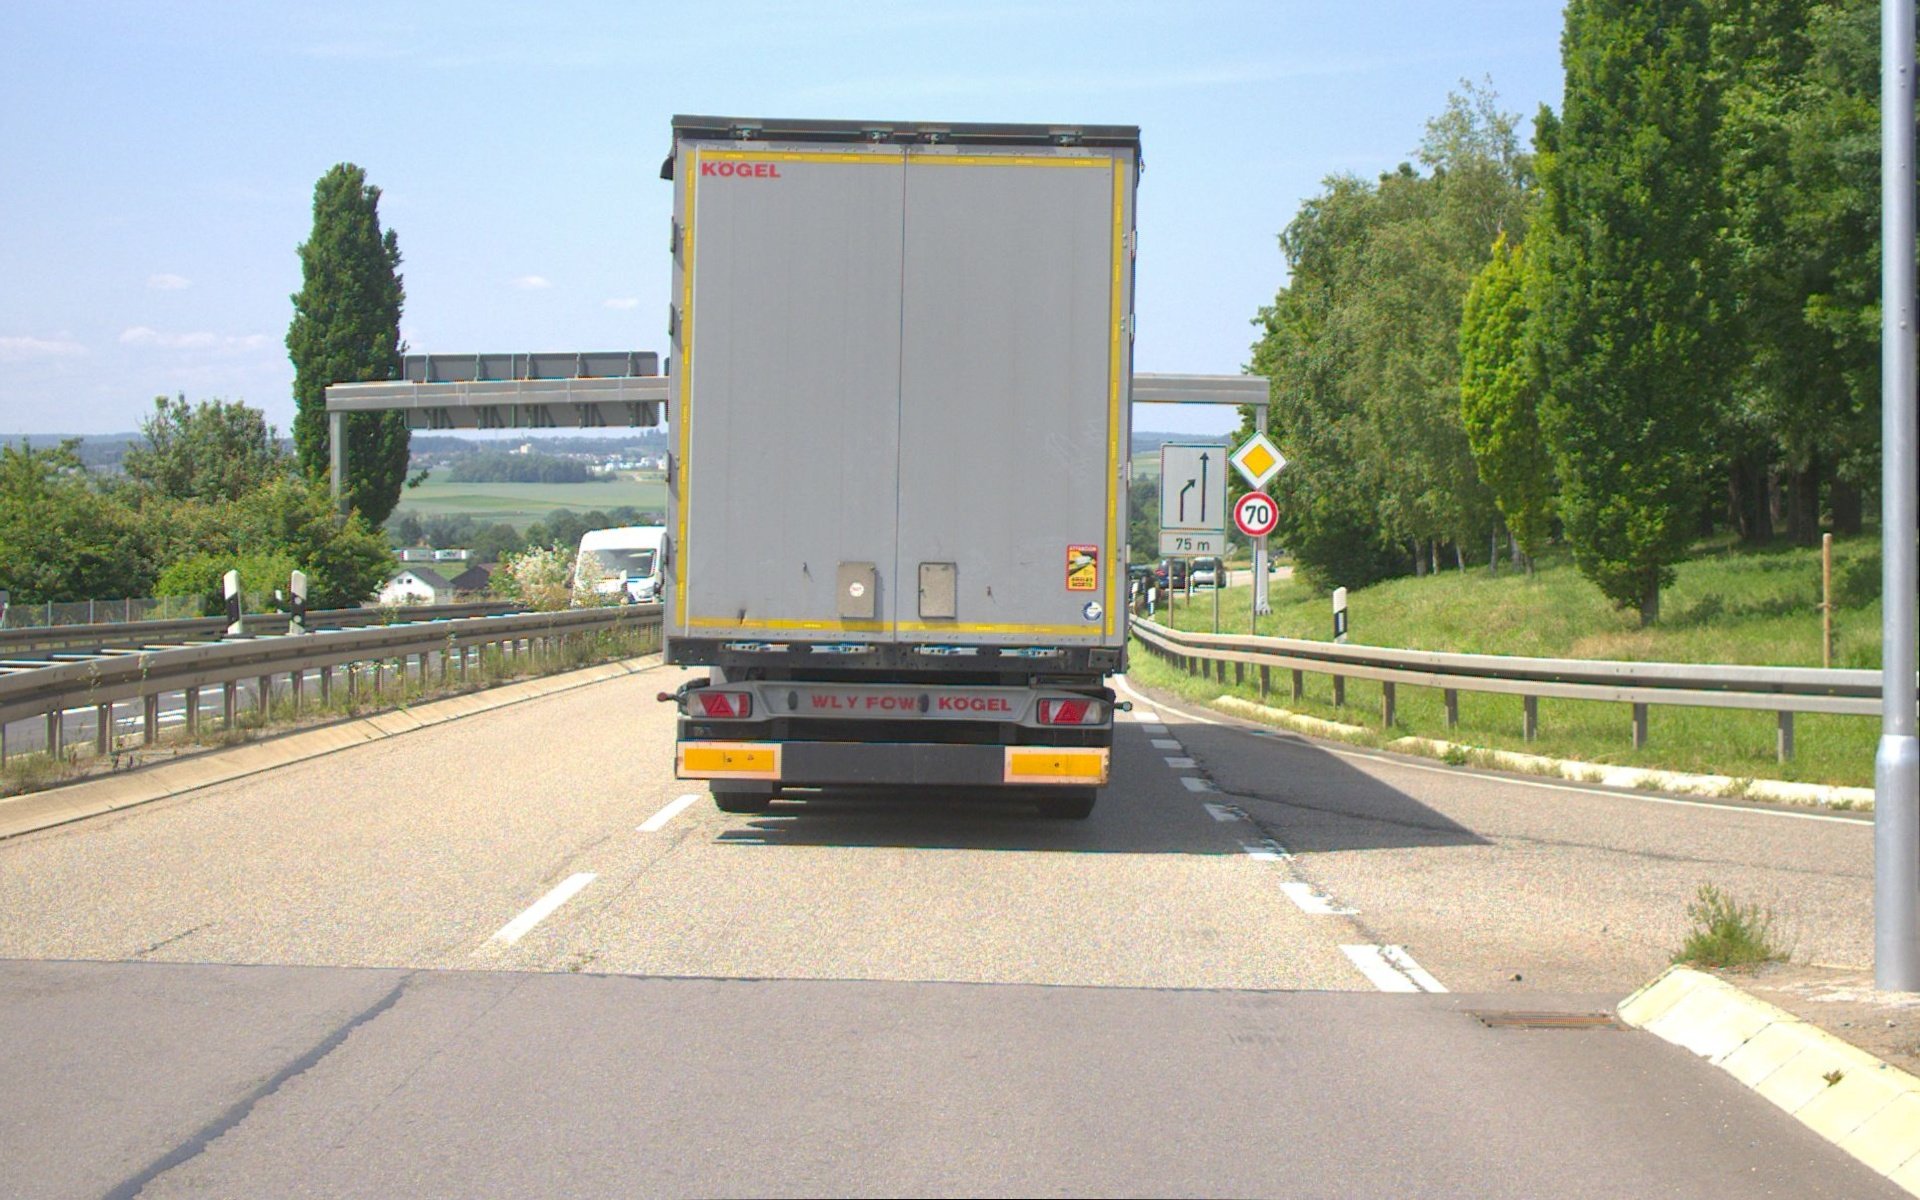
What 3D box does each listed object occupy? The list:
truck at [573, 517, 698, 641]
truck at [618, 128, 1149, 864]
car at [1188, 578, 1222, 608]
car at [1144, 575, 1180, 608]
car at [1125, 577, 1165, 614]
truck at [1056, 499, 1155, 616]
[{"bbox_3d":[-7.221,-0.478,77.159,2.040,2.612,6.020,-2,1,1],"label":"truck"},{"bbox_3d":[-0.544,-0.619,24.201,2.799,3.916,11.342,1,1,-1],"label":"truck"},{"bbox_3d":[14.192,-0.416,199.317,1.786,1.682,4.000,1,0,2],"label":"car"},{"bbox_3d":[10.593,-0.421,180.521,1.786,1.682,4.000,1,0,2],"label":"car"},{"bbox_3d":[8.765,-0.197,163.229,1.786,1.682,4.000,1,0,2],"label":"car"},{"bbox_3d":[5.028,-1.383,117.423,2.656,3.752,10.159,1,0,6],"label":"truck"}]
